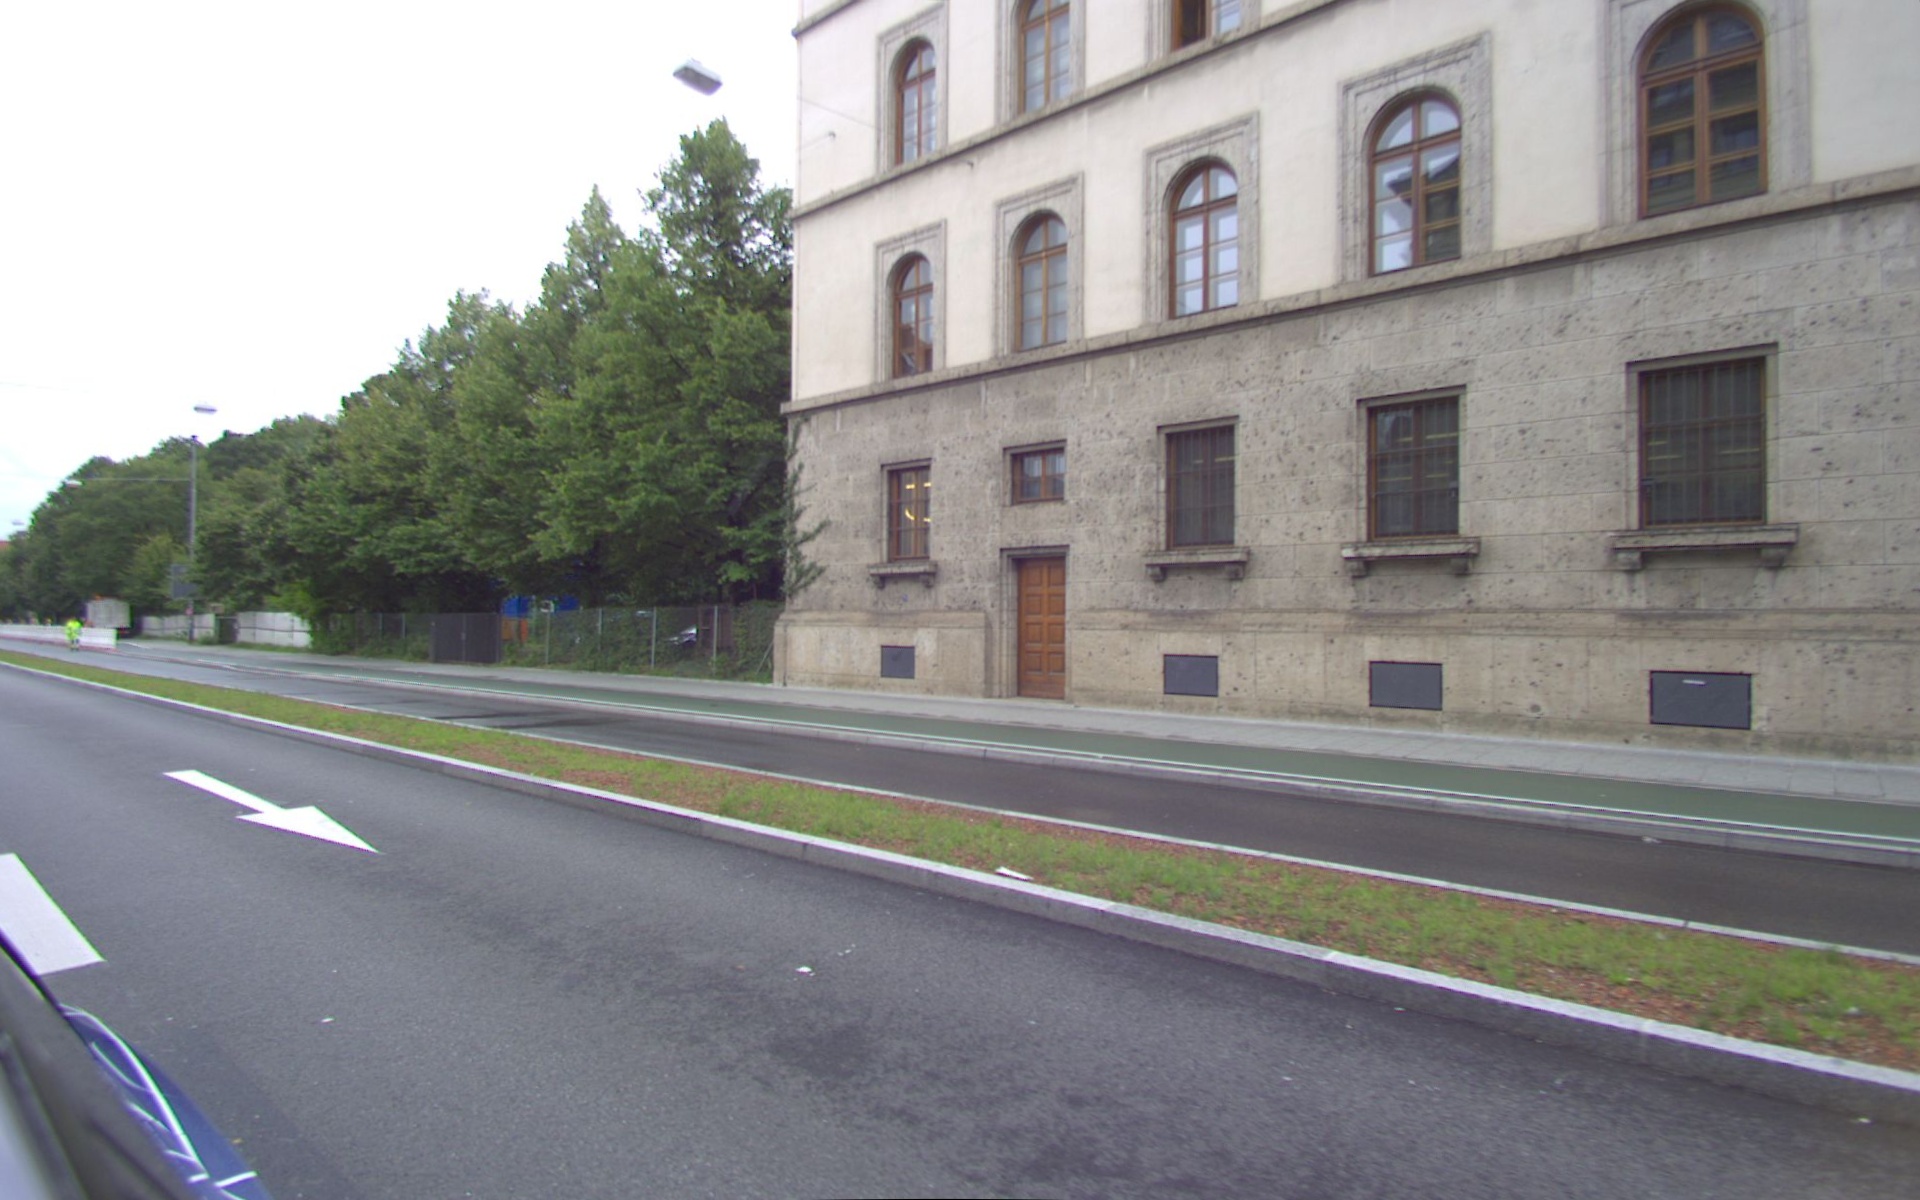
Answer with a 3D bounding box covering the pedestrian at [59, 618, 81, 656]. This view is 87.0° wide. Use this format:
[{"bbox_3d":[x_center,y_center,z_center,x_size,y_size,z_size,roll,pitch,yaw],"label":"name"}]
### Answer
[{"bbox_3d":[-47.273,1.956,53.743,0.867,2.029,0.747,-1,-1,41],"label":"pedestrian"}]
